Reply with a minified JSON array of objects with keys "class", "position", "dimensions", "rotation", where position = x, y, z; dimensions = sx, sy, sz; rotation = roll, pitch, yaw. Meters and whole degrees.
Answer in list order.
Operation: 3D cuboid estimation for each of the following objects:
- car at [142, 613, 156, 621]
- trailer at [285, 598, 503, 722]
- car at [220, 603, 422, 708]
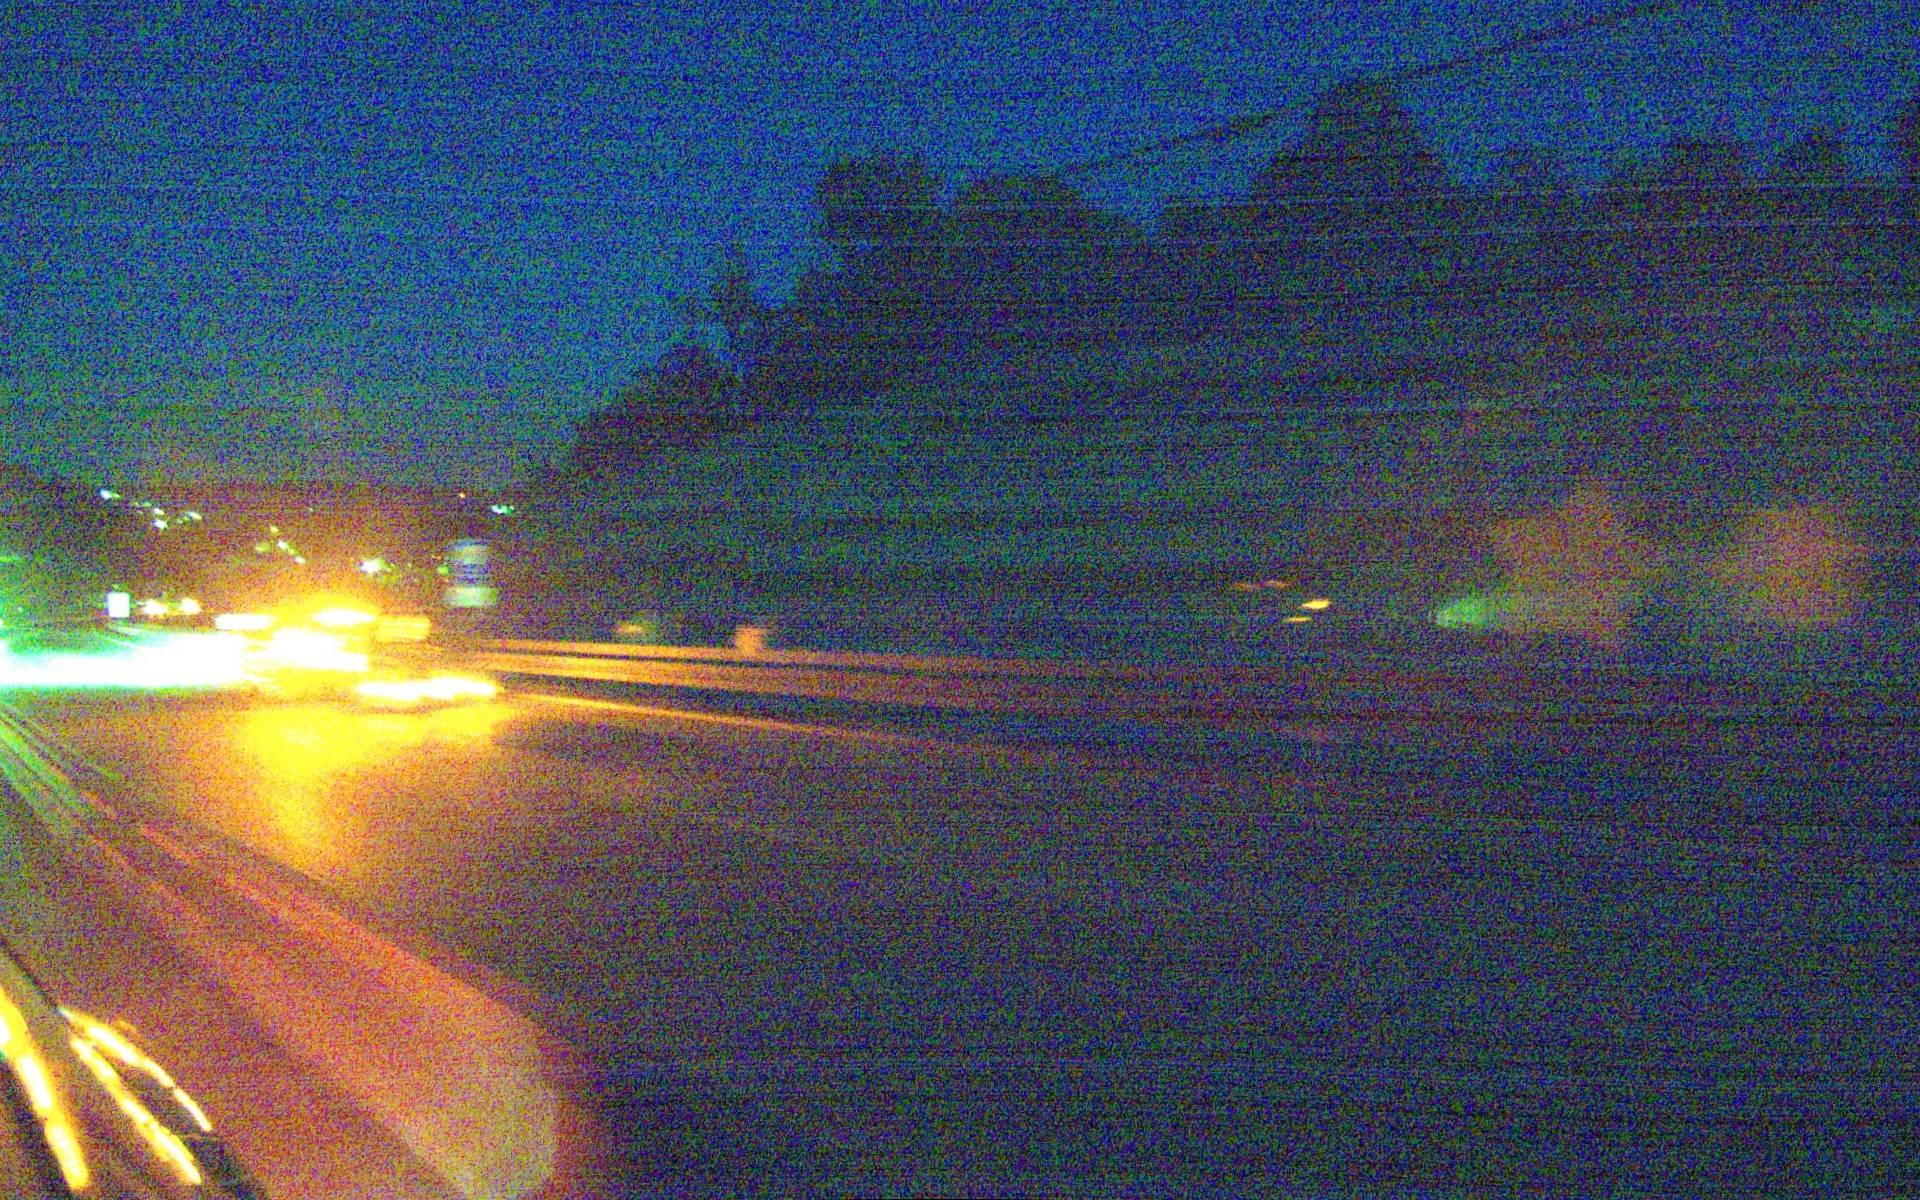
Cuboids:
[{"class":"car","position":[-160.870,3.384,200.783],"dimensions":[1.783,1.529,3.945],"rotation":[0,-2,-34]},{"class":"trailer","position":[-8.652,0.849,15.381],"dimensions":[3.418,1.652,1.991],"rotation":[-2,-2,44]},{"class":"car","position":[-11.642,0.919,18.294],"dimensions":[4.864,1.652,1.991],"rotation":[-2,-1,44]}]
